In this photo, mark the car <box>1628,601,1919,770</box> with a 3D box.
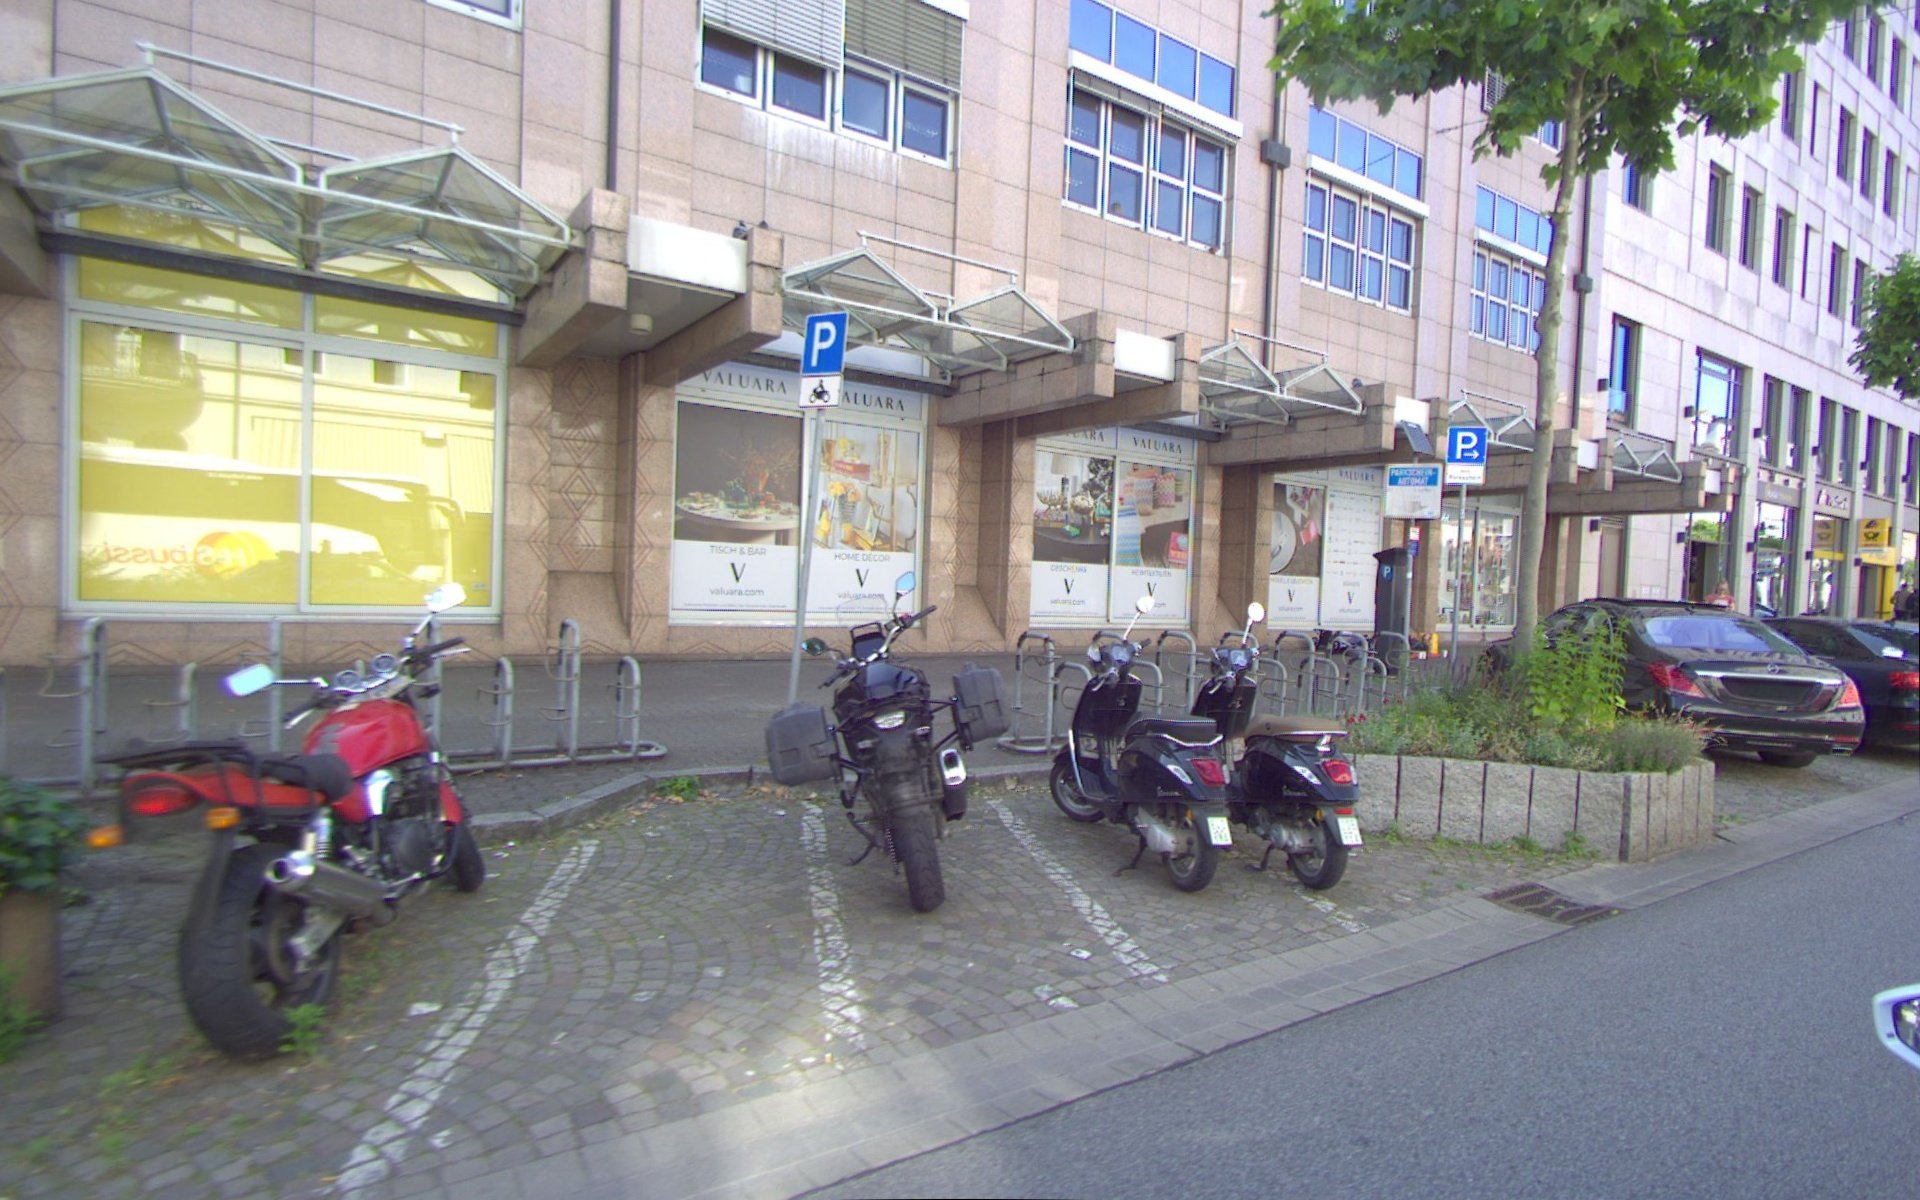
[{"bbox_3d":[10.373,0.872,12.077,1.845,1.442,4.798,2,3,6],"label":"car"}]

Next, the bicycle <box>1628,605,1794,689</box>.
[{"bbox_3d":[12.407,0.740,16.681,0.611,1.145,2.053,2,4,-32],"label":"bicycle"}]

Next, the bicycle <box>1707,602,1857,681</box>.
[{"bbox_3d":[15.346,0.742,18.801,2.041,1.236,0.756,6,4,41],"label":"bicycle"}]

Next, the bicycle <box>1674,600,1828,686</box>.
[{"bbox_3d":[14.141,0.737,18.020,0.365,1.306,2.047,1,4,-40],"label":"bicycle"}]

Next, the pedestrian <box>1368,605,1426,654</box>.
[{"bbox_3d":[7.979,0.534,18.345,0.766,0.820,0.562,1,6,-34],"label":"pedestrian"}]

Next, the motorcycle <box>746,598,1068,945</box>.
[{"bbox_3d":[-0.441,0.693,5.239,1.271,1.285,2.346,1,2,-13],"label":"motorcycle"}]

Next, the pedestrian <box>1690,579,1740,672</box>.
[{"bbox_3d":[13.975,0.457,18.589,0.631,1.679,0.561,0,2,-41],"label":"pedestrian"}]

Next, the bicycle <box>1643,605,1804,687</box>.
[{"bbox_3d":[12.995,0.754,17.165,0.460,1.145,2.047,1,4,-40],"label":"bicycle"}]

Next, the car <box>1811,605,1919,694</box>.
[{"bbox_3d":[17.914,0.958,18.012,1.868,1.427,4.652,3,3,10],"label":"car"}]

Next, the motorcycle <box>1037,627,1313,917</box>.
[{"bbox_3d":[1.066,0.811,5.534,0.716,1.185,1.911,1,2,-13],"label":"motorcycle"}]

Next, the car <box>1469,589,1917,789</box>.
[{"bbox_3d":[7.544,0.740,11.110,1.950,1.554,4.759,3,2,9],"label":"car"}]

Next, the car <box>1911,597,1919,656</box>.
[{"bbox_3d":[26.975,0.912,25.376,1.701,1.520,3.957,1,6,-37],"label":"car"}]

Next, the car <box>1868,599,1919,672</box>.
[{"bbox_3d":[22.093,0.930,21.118,1.798,1.534,4.351,3,3,-3],"label":"car"}]

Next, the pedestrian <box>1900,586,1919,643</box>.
[{"bbox_3d":[35.017,0.533,36.831,0.693,2.041,0.620,1,1,-33],"label":"pedestrian"}]

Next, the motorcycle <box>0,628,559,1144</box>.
[{"bbox_3d":[-2.272,0.777,3.675,0.903,1.185,2.177,2,2,-6],"label":"motorcycle"}]

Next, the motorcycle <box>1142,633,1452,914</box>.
[{"bbox_3d":[1.782,0.852,5.712,0.747,1.185,1.911,1,2,-13],"label":"motorcycle"}]
